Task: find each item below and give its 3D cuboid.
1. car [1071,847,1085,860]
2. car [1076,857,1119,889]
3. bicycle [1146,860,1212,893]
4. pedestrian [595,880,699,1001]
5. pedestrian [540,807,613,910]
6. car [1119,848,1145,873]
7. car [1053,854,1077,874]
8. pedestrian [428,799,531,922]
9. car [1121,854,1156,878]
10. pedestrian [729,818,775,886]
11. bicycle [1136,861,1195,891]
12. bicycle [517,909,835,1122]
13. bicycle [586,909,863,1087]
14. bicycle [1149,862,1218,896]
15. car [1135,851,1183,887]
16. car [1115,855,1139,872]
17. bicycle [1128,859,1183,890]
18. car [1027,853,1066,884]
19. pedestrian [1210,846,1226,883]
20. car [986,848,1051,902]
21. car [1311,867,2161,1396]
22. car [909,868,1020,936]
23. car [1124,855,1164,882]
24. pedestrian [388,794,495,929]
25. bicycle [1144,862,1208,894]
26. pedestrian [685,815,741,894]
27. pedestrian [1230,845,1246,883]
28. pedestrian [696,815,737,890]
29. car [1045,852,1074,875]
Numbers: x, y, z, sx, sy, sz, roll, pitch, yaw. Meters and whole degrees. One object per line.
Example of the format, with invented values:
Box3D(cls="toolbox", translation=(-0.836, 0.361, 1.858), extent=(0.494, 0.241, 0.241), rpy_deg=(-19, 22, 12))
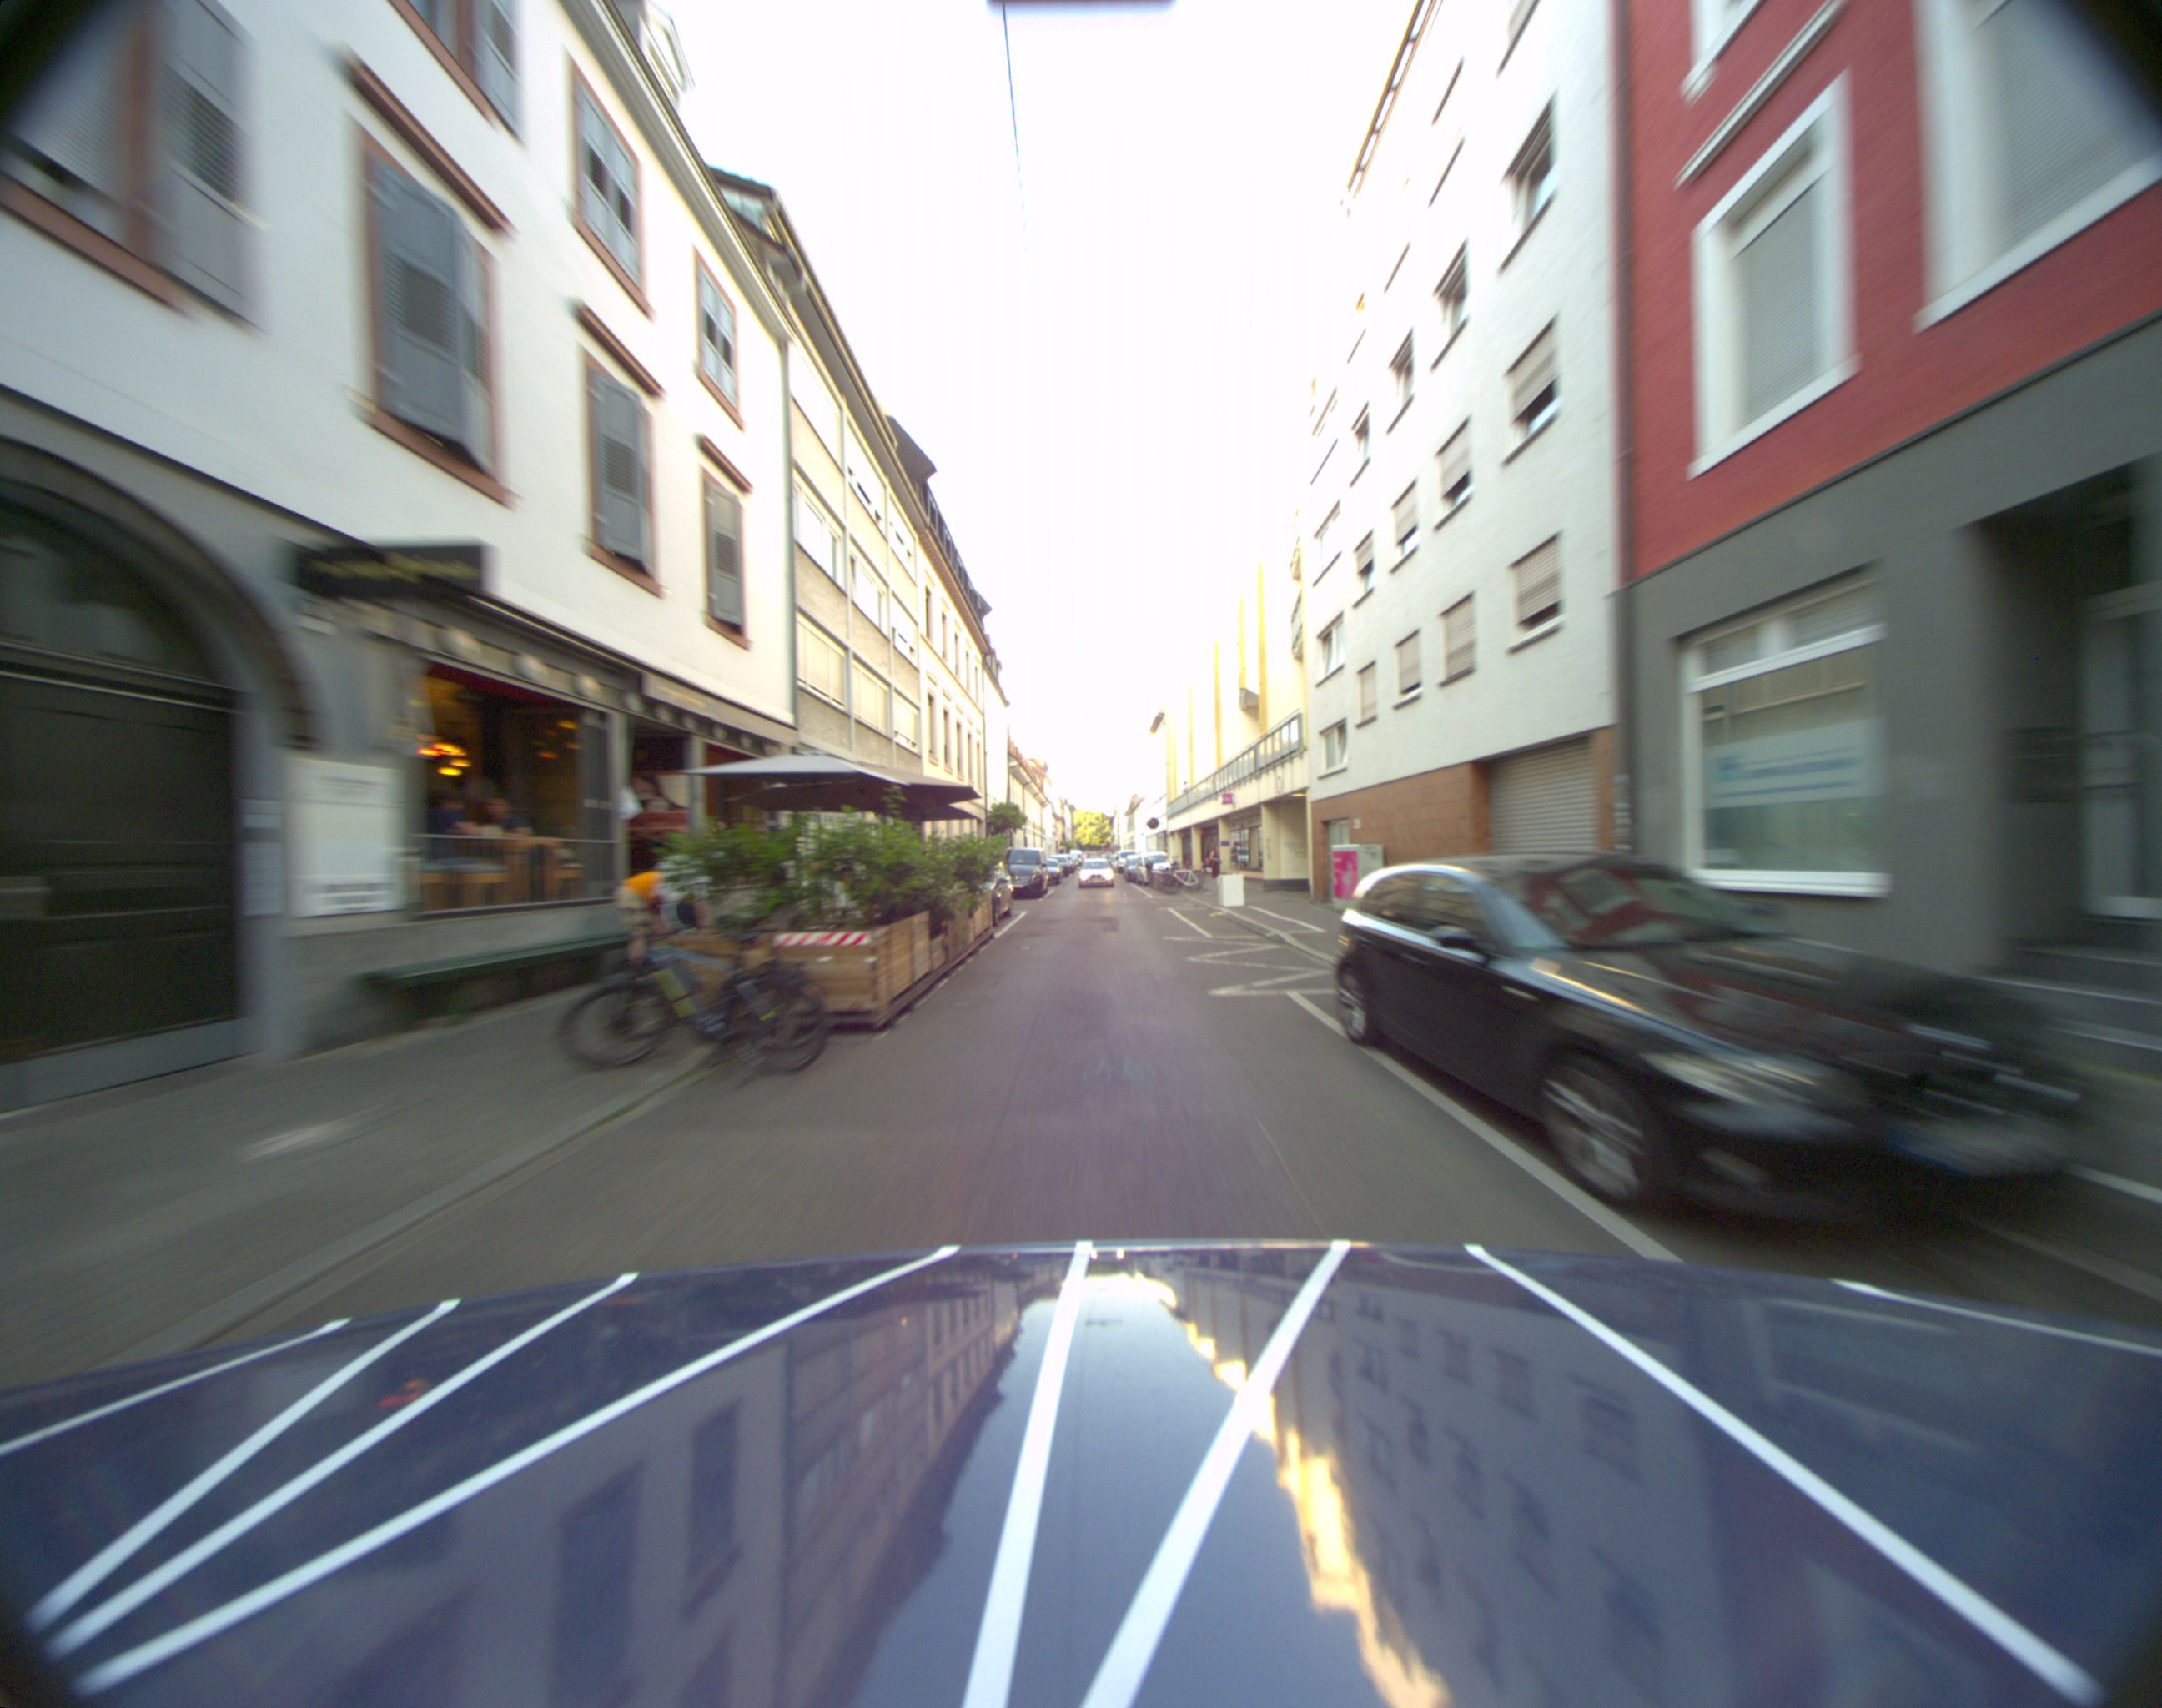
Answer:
Box3D(cls="car", translation=(-0.480, -0.105, 120.441), extent=(1.998, 1.884, 4.459), rpy_deg=(-2, 0, 1))
Box3D(cls="car", translation=(0.809, 0.884, 37.786), extent=(1.998, 1.414, 4.459), rpy_deg=(-2, 0, 1))
Box3D(cls="bicycle", translation=(3.819, 0.877, 29.575), extent=(2.480, 1.172, 0.784), rpy_deg=(-2, 1, 6))
Box3D(cls="pedestrian", translation=(-4.719, 0.919, 8.301), extent=(0.736, 1.236, 0.646), rpy_deg=(-1, 1, 1))
Box3D(cls="pedestrian", translation=(-6.308, 0.050, 9.518), extent=(0.467, 1.236, 0.609), rpy_deg=(-1, 1, 1))
Box3D(cls="car", translation=(4.440, 0.560, 66.838), extent=(1.998, 2.030, 4.459), rpy_deg=(-2, 0, 1))
Box3D(cls="car", translation=(-1.473, 0.894, 70.100), extent=(1.998, 1.666, 4.459), rpy_deg=(-2, 0, 1))
Box3D(cls="pedestrian", translation=(-6.319, 0.066, 8.010), extent=(0.566, 1.236, 0.609), rpy_deg=(-1, 1, 0))
Box3D(cls="car", translation=(3.754, 0.764, 50.589), extent=(1.998, 1.462, 4.459), rpy_deg=(-2, 0, 1))
Box3D(cls="pedestrian", translation=(-6.109, -0.035, 14.130), extent=(0.566, 1.236, 0.609), rpy_deg=(-1, 1, 0))
Box3D(cls="bicycle", translation=(3.630, 0.922, 32.677), extent=(2.480, 1.172, 0.784), rpy_deg=(-2, 1, 6))
Box3D(cls="bicycle", translation=(-2.777, 1.090, 5.320), extent=(1.873, 1.295, 0.596), rpy_deg=(2, 1, 1))
Box3D(cls="bicycle", translation=(-2.765, 1.101, 6.003), extent=(1.873, 1.221, 0.596), rpy_deg=(2, 1, 1))
Box3D(cls="bicycle", translation=(3.854, 0.932, 28.646), extent=(2.480, 1.172, 0.784), rpy_deg=(-2, 1, 6))
Box3D(cls="car", translation=(3.955, 0.721, 39.114), extent=(1.998, 1.666, 4.459), rpy_deg=(-2, 0, 1))
Box3D(cls="car", translation=(4.319, 0.902, 72.064), extent=(1.998, 1.462, 4.459), rpy_deg=(-2, 0, 1))
Box3D(cls="bicycle", translation=(3.490, 0.941, 35.549), extent=(2.480, 1.322, 0.784), rpy_deg=(-2, 1, 6))
Box3D(cls="car", translation=(-1.943, 0.804, 44.145), extent=(1.998, 1.666, 4.459), rpy_deg=(-2, 0, 1))
Box3D(cls="pedestrian", translation=(6.222, 0.481, 34.511), extent=(0.641, 1.652, 0.718), rpy_deg=(-2, 1, 11))
Box3D(cls="car", translation=(-2.292, 0.739, 28.869), extent=(1.998, 1.835, 4.000), rpy_deg=(-2, 0, 1))
Box3D(cls="car", translation=(2.852, 0.864, 4.347), extent=(1.722, 1.452, 4.134), rpy_deg=(-2, 0, -1))
Box3D(cls="car", translation=(-2.619, 1.058, 18.086), extent=(1.940, 1.288, 4.000), rpy_deg=(-2, 0, 1))
Box3D(cls="car", translation=(3.642, 0.829, 44.732), extent=(1.998, 1.462, 4.459), rpy_deg=(-2, 0, 1))
Box3D(cls="pedestrian", translation=(-6.103, 0.067, 7.282), extent=(0.467, 1.236, 0.609), rpy_deg=(-1, 1, 1))
Box3D(cls="bicycle", translation=(3.804, 0.941, 30.476), extent=(2.480, 1.172, 0.784), rpy_deg=(-2, 1, 6))
Box3D(cls="pedestrian", translation=(-5.891, 0.003, 12.183), extent=(0.566, 1.236, 0.609), rpy_deg=(-1, 1, 0))
Box3D(cls="pedestrian", translation=(7.084, 0.449, 34.388), extent=(0.641, 1.652, 0.718), rpy_deg=(-2, 1, 11))
Box3D(cls="pedestrian", translation=(-6.165, -0.029, 12.846), extent=(0.568, 1.236, 0.469), rpy_deg=(-2, 1, -28))
Box3D(cls="car", translation=(-1.655, 0.725, 59.122), extent=(1.998, 1.666, 4.459), rpy_deg=(-2, 0, 1))
